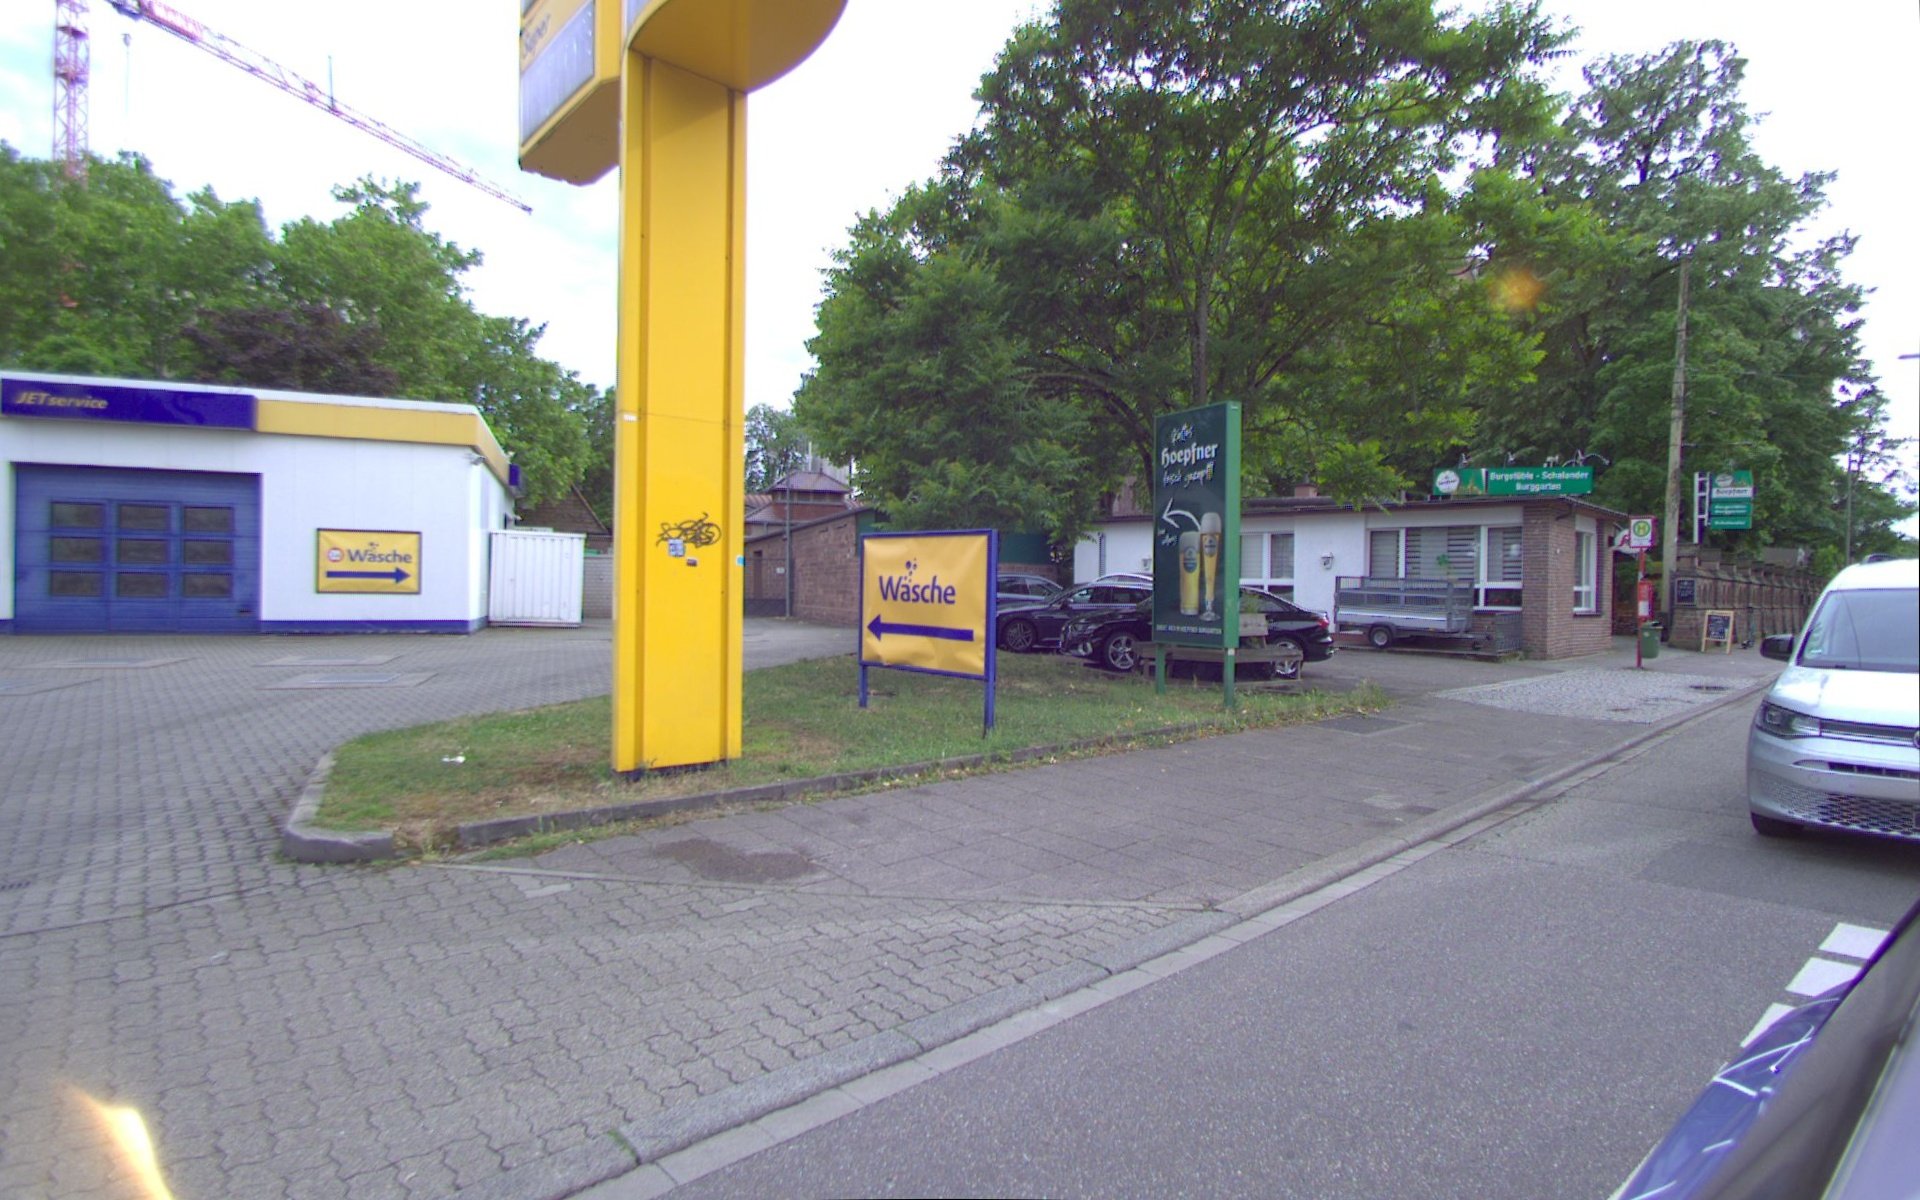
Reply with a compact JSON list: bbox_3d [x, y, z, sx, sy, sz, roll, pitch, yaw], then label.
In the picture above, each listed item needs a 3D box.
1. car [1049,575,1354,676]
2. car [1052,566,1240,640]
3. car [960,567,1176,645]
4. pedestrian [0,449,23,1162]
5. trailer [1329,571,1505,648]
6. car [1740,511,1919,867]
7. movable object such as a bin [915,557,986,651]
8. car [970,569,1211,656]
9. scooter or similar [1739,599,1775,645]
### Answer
[{"bbox_3d":[3.843,0.376,16.721,4.497,1.425,1.935,2,1,0],"label":"car"},{"bbox_3d":[4.538,0.034,25.219,1.955,1.667,4.434,0,1,-39],"label":"car"},{"bbox_3d":[2.329,0.119,22.601,4.401,1.477,1.988,2,0,-5],"label":"car"},{"bbox_3d":[-2.978,0.490,2.565,0.846,1.759,0.973,0,3,-41],"label":"pedestrian"},{"bbox_3d":[9.952,0.163,22.160,1.594,1.558,3.165,0,1,-43],"label":"trailer"},{"bbox_3d":[6.844,0.477,6.721,4.853,1.830,1.848,1,1,-43],"label":"car"},{"bbox_3d":[-0.188,0.070,18.270,1.102,1.533,1.423,4,-1,-3],"label":"movable object such as a bin"},{"bbox_3d":[2.503,0.215,20.225,4.453,1.444,1.880,2,3,-2],"label":"car"},{"bbox_3d":[23.038,0.629,29.246,1.387,1.254,0.577,0,4,-45],"label":"scooter or similar"}]
